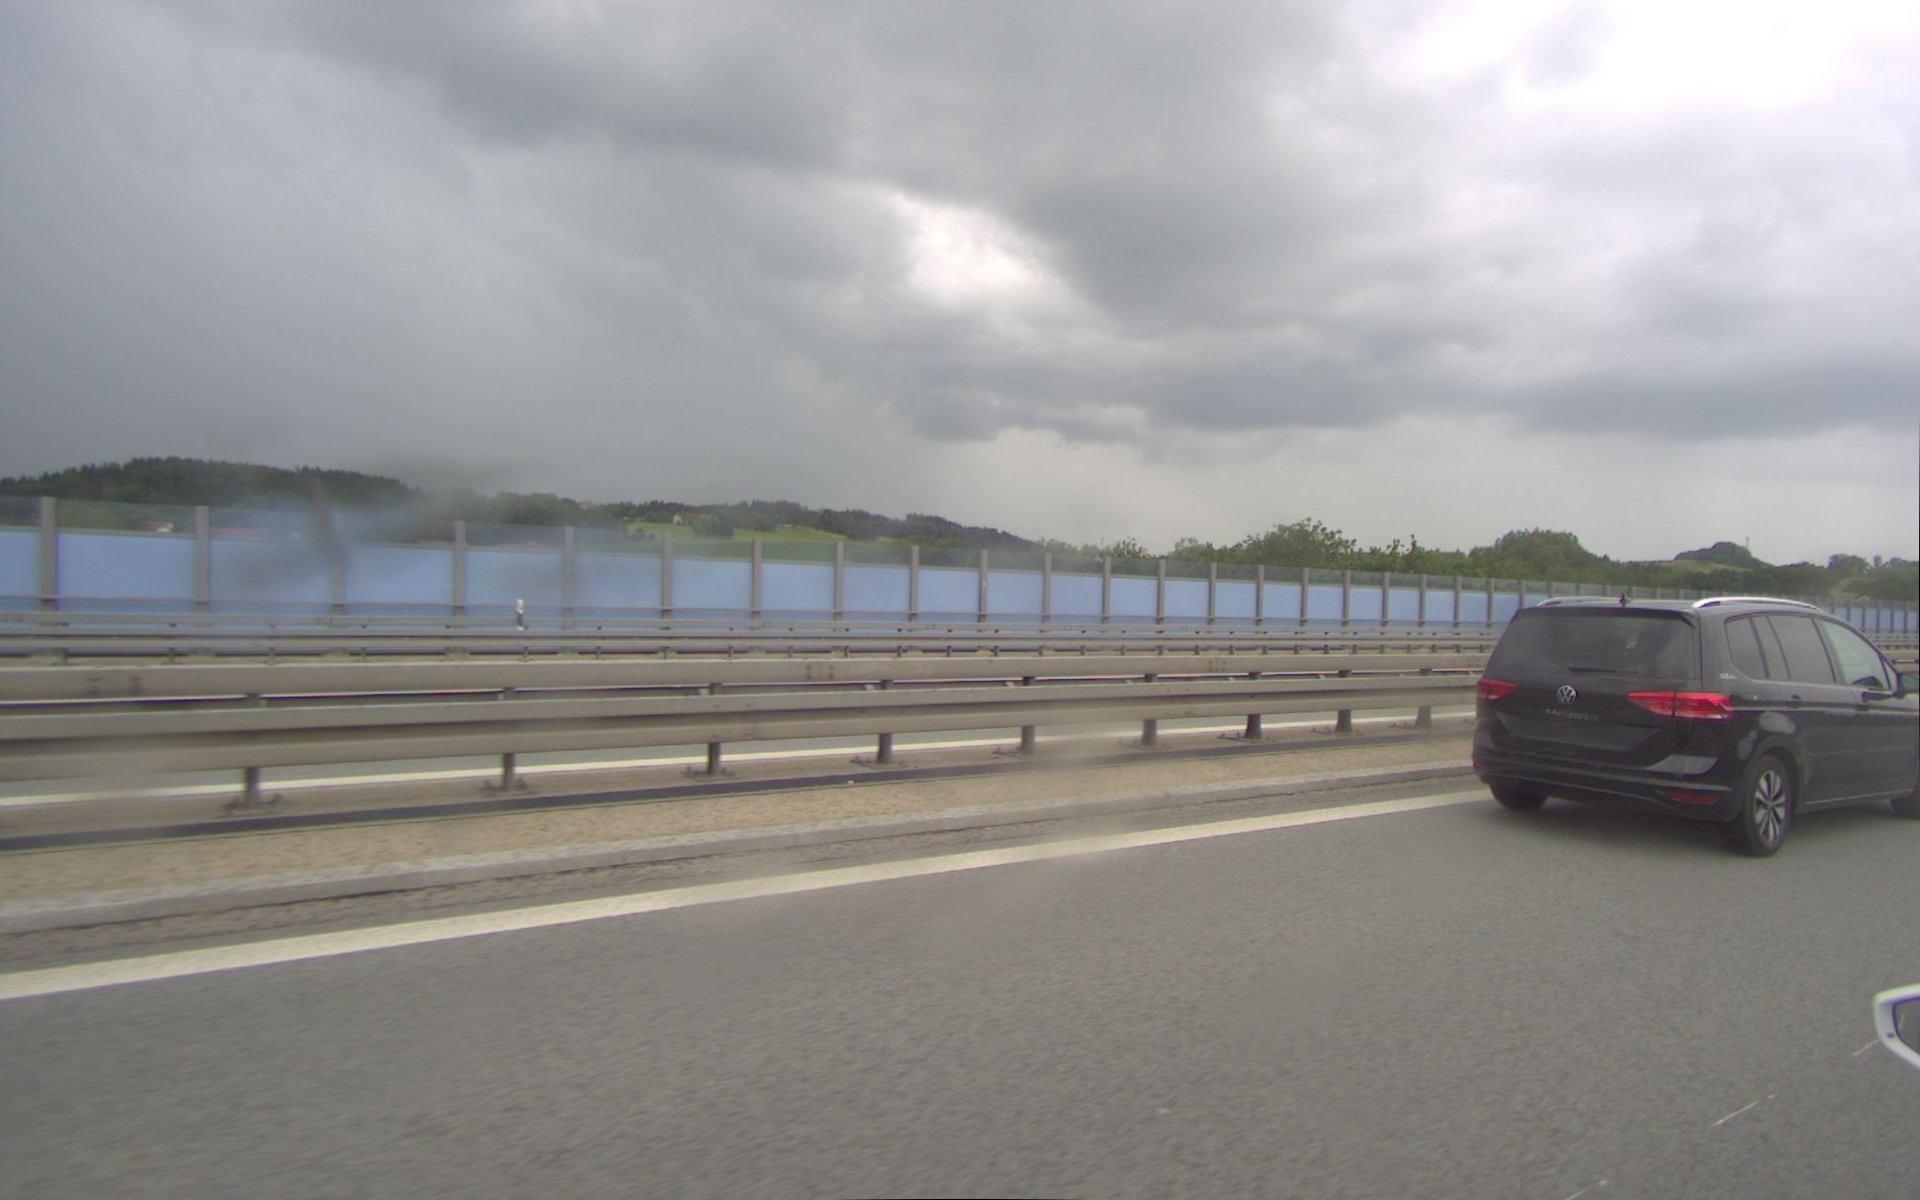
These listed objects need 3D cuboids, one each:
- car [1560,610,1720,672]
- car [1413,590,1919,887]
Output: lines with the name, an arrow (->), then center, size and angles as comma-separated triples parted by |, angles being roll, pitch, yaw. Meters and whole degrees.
car -> 18.713, 1.096, 27.617 | 4.237, 1.535, 1.984 | 1, 0, -30
car -> 6.107, 0.832, 7.925 | 5.333, 1.693, 1.887 | 1, 0, -31
